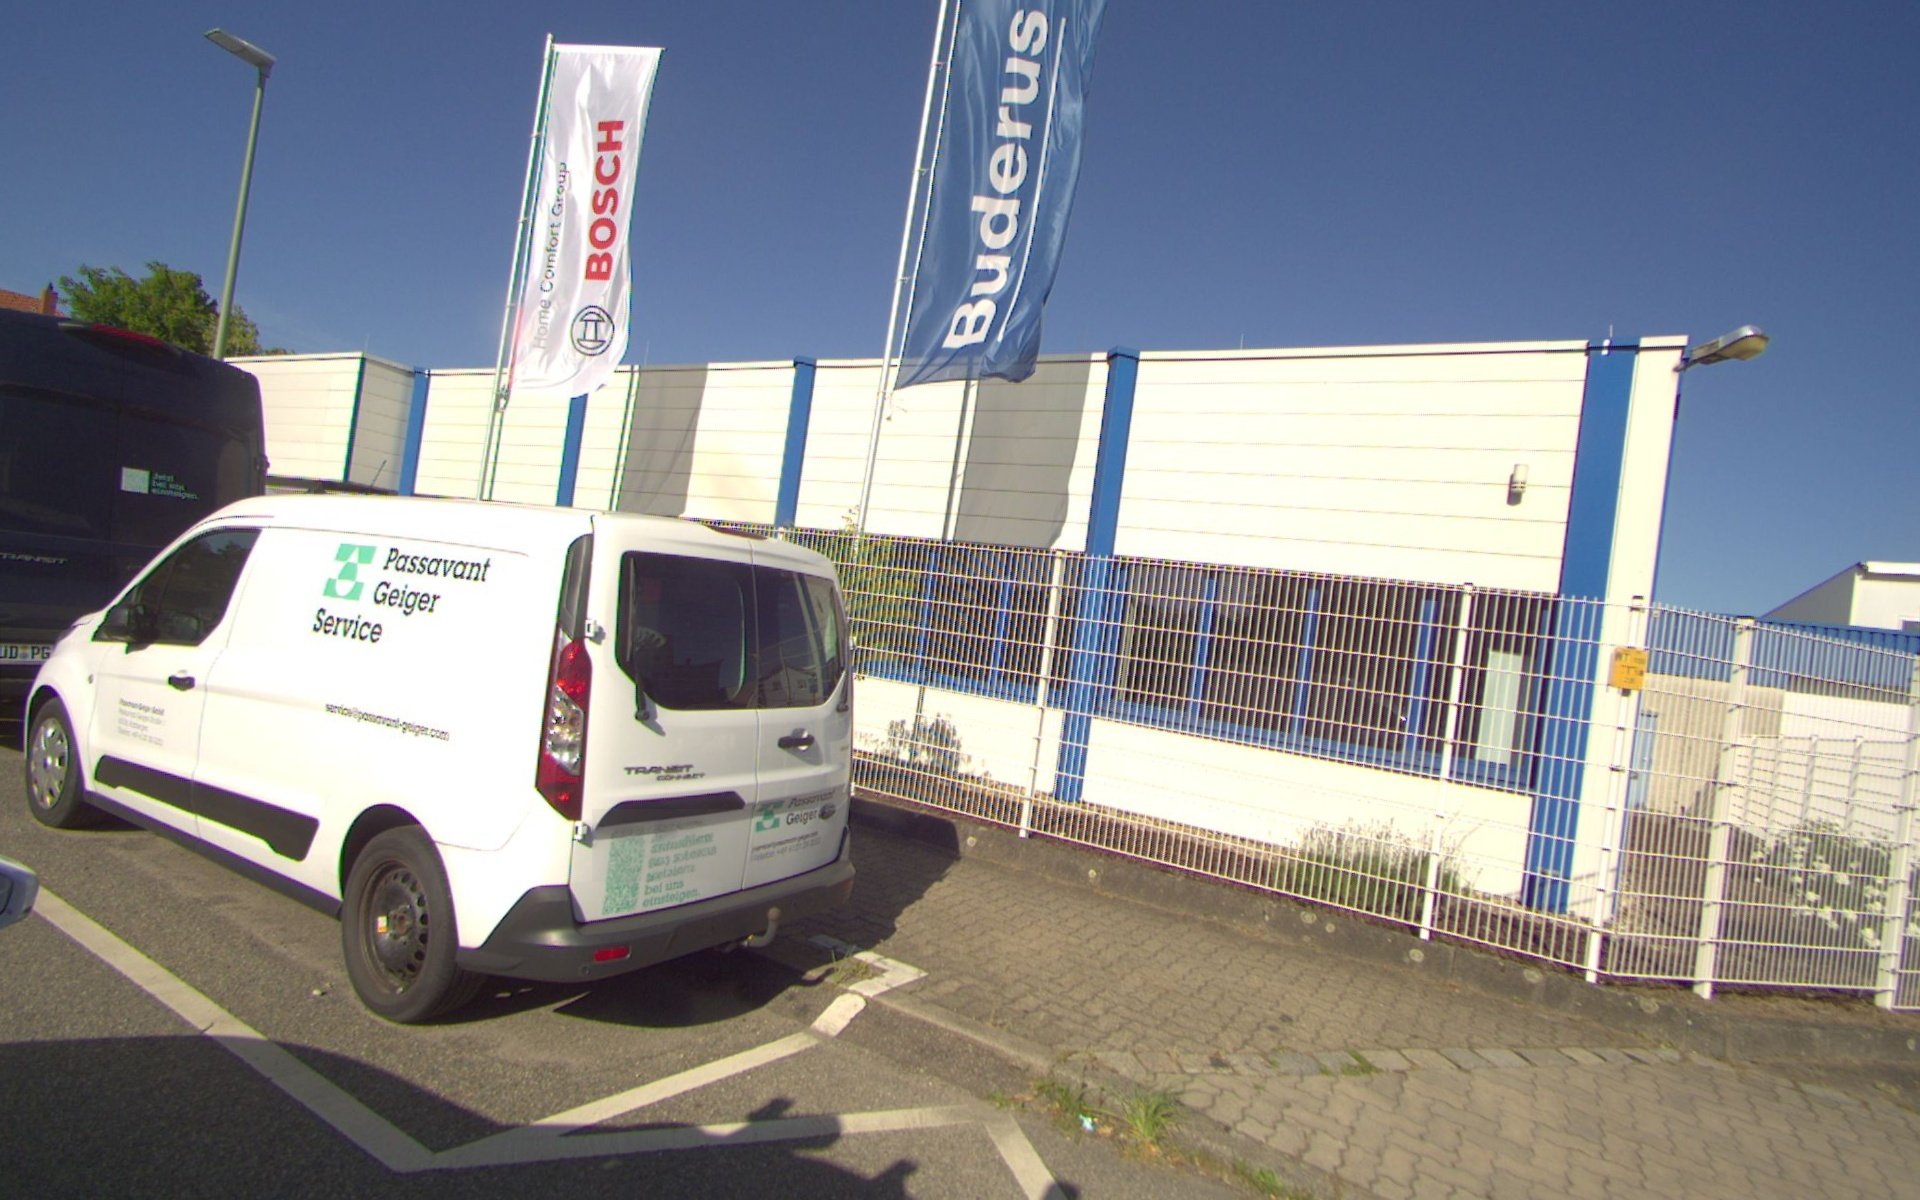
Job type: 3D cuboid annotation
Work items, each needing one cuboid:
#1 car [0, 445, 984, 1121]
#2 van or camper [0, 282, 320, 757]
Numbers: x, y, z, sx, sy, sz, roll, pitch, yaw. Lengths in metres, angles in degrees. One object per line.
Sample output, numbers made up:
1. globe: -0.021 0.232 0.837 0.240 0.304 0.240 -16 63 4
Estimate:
1. car: -2.622 0.427 4.904 5.018 1.816 1.892 6 -4 31
2. van or camper: -8.023 -0.661 8.061 6.059 2.789 2.147 6 -4 32
